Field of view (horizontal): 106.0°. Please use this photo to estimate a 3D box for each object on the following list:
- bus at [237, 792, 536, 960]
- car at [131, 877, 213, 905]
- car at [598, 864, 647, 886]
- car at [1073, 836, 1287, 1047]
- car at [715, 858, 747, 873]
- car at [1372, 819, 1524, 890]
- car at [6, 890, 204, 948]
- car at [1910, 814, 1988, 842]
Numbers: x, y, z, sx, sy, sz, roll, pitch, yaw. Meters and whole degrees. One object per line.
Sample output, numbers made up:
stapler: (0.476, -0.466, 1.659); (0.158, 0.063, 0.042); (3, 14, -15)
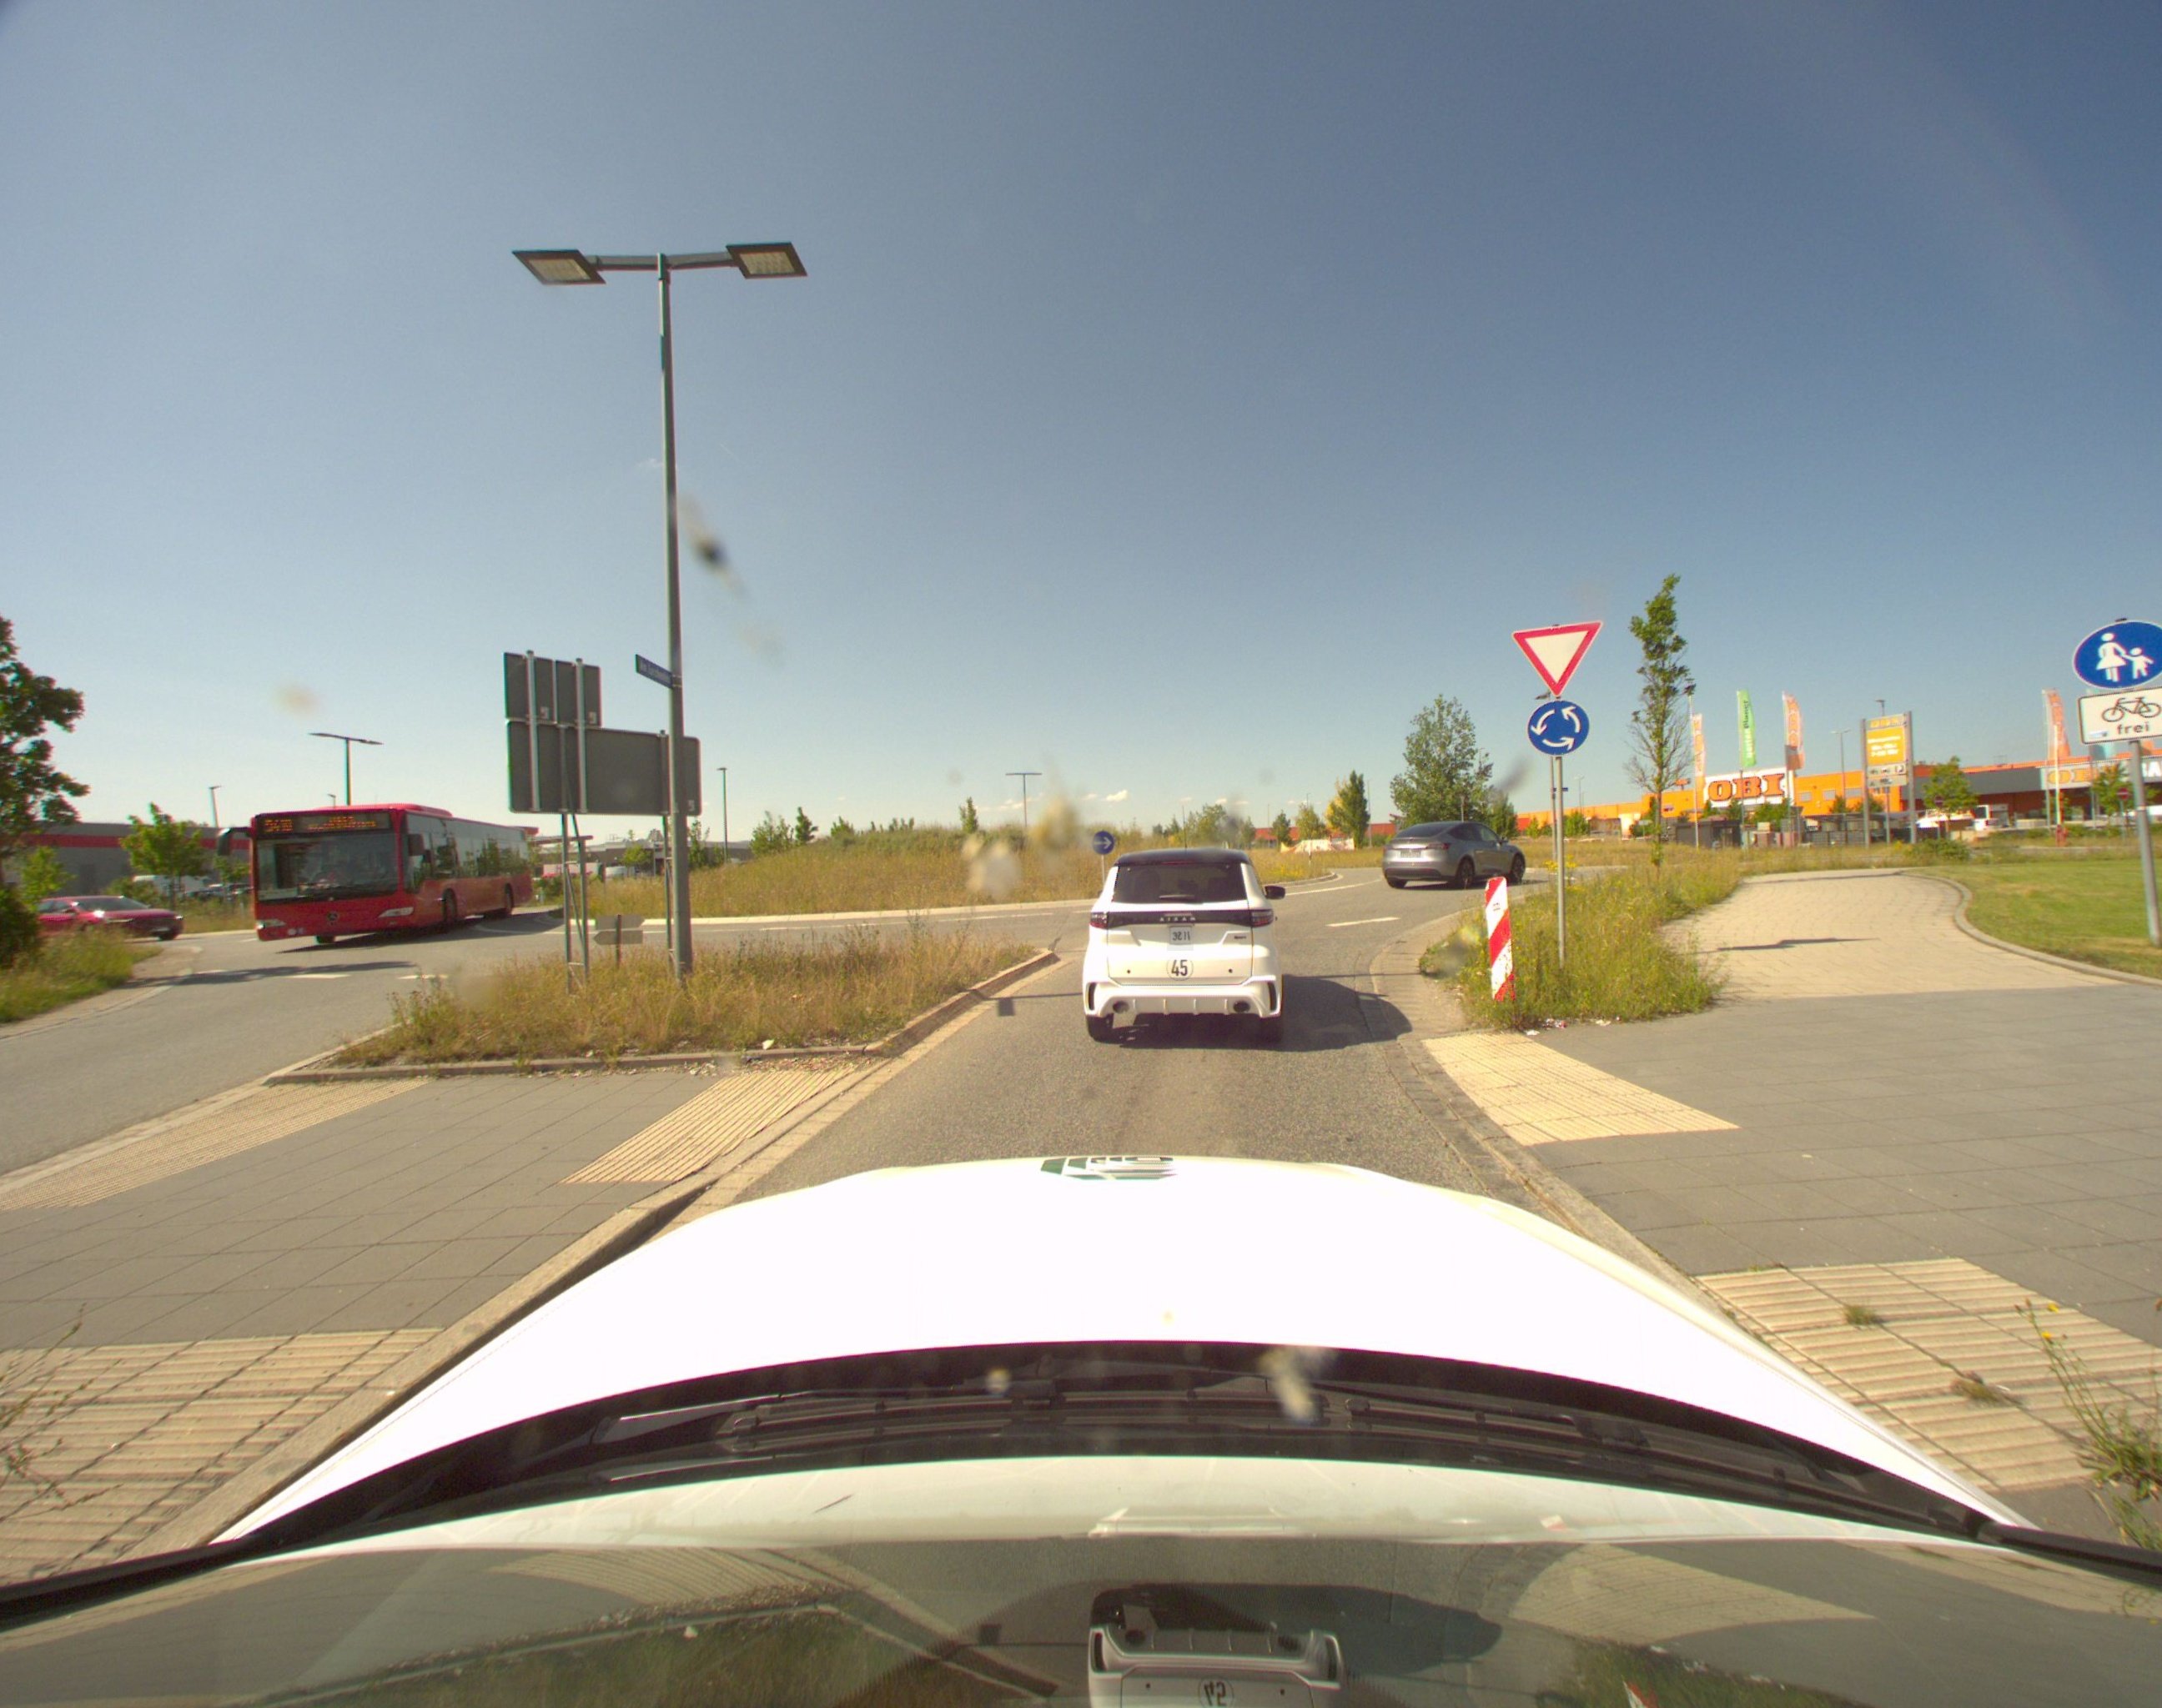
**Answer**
bus: (-17.628, 0.420, 21.964); (2.621, 3.241, 11.788); (-4, 1, -23)
car: (-72.509, 2.931, 65.057); (1.989, 2.013, 3.996); (-2, 0, -3)
car: (-45.685, 2.085, 81.254); (1.988, 2.014, 5.132); (-2, -1, -2)
car: (1.037, 0.606, 7.550); (1.499, 1.440, 3.362); (-2, 2, 12)
car: (-41.279, 1.331, 96.033); (1.987, 1.732, 3.999); (-2, -1, 0)
car: (9.175, -0.030, 20.229); (4.190, 1.584, 1.810); (-2, 0, -41)
car: (-28.752, 1.887, 24.042); (4.080, 1.416, 1.813); (-3, 0, 8)
car: (59.421, -1.751, 55.796); (3.756, 1.841, 1.697); (0, -1, -5)
